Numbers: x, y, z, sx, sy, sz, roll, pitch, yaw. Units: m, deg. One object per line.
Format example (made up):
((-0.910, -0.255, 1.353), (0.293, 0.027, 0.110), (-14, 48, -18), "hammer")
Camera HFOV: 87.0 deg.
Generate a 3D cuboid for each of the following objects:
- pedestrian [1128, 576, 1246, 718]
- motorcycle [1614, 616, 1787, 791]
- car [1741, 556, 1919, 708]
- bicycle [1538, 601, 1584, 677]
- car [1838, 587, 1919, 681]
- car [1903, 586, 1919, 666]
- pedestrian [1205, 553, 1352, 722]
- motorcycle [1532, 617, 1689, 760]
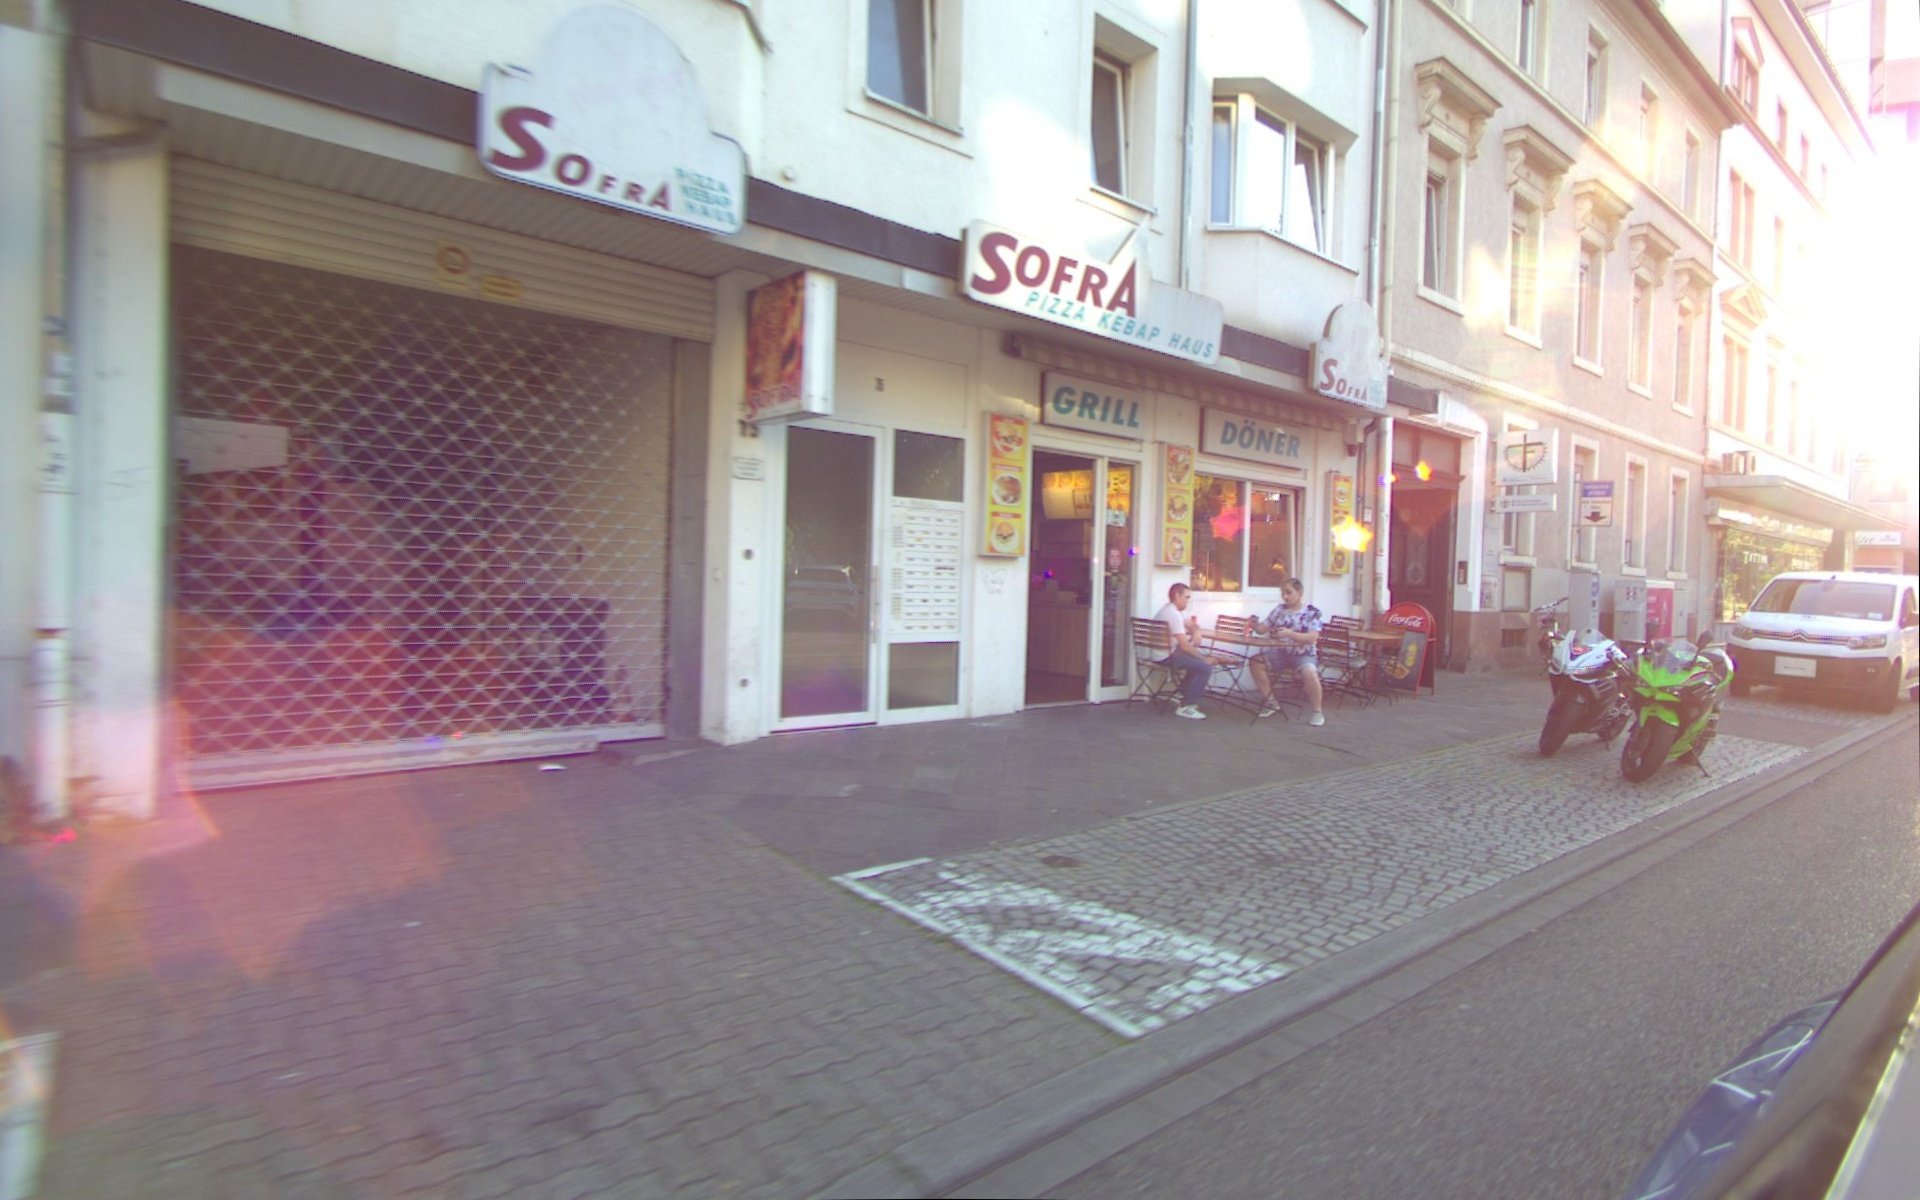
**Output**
((2.119, 0.426, 9.544), (0.774, 1.234, 0.745), (3, 2, -10), "pedestrian")
((6.042, 0.761, 8.203), (2.171, 1.215, 0.589), (1, 3, -41), "motorcycle")
((12.773, 0.400, 14.402), (4.228, 1.858, 1.714), (1, 0, -39), "car")
((9.031, 0.556, 15.194), (0.453, 1.024, 1.691), (1, 1, 35), "bicycle")
((17.410, 0.587, 18.383), (3.814, 1.564, 1.670), (1, 0, -40), "car")
((22.201, 0.567, 22.307), (4.036, 1.686, 1.659), (1, 0, -41), "car")
((3.044, 0.328, 9.680), (0.975, 1.505, 0.957), (1, 0, -40), "pedestrian")
((5.954, 0.740, 9.202), (2.171, 1.137, 0.589), (1, 0, -41), "motorcycle")
